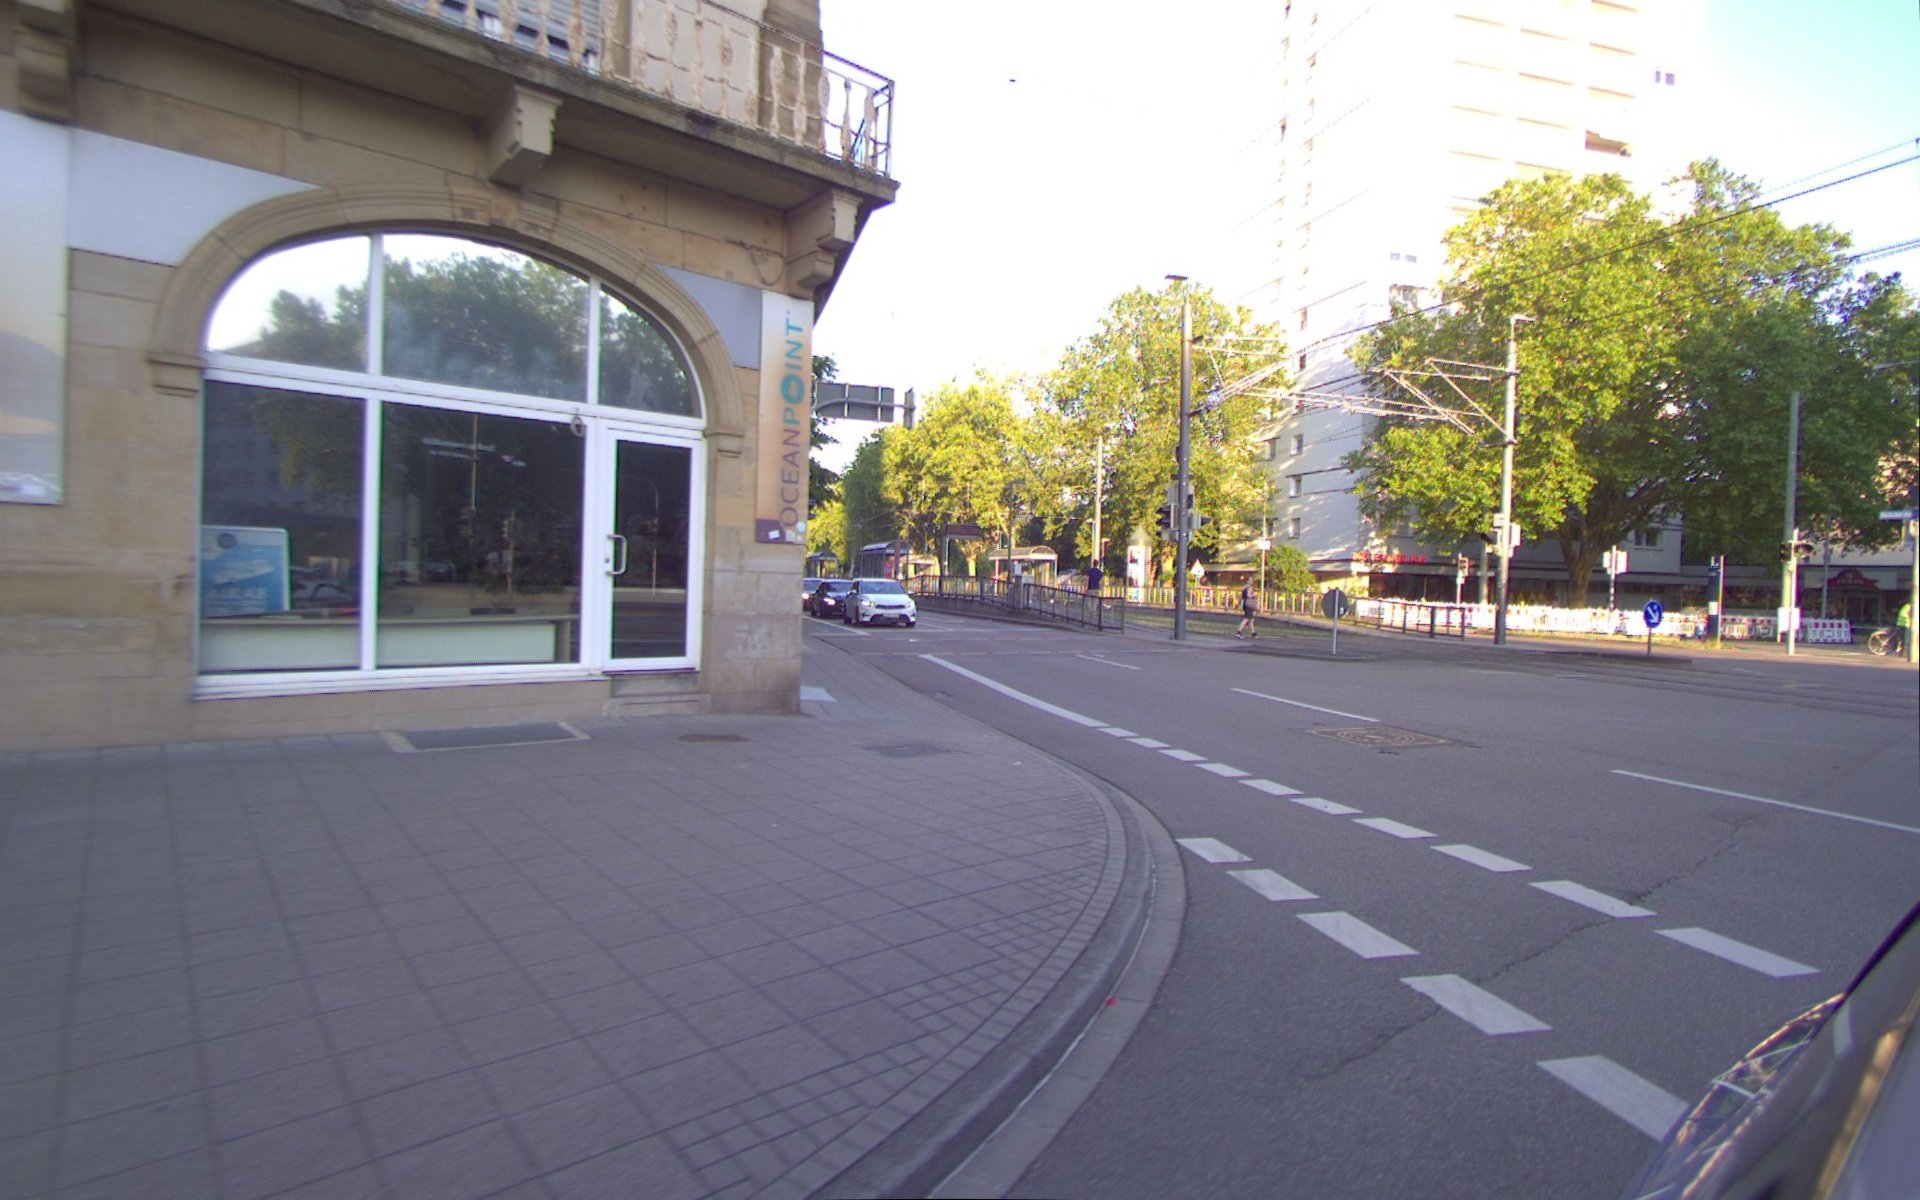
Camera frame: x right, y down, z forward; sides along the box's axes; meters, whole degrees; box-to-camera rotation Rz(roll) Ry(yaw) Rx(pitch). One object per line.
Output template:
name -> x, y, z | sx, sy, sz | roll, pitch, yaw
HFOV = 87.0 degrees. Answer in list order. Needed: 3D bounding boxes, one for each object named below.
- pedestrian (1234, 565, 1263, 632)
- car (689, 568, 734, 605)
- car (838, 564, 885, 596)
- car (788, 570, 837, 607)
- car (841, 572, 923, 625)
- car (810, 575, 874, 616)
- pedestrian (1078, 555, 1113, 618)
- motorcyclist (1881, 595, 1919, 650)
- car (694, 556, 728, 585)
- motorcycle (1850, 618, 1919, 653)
pedestrian -> 7.405, -0.034, 26.007 | 0.652, 1.677, 0.540 | 2, 1, 16
car -> -11.169, -0.632, 45.488 | 1.824, 1.566, 4.009 | 2, 1, -14
car -> -5.207, -1.052, 53.131 | 1.824, 1.566, 4.009 | 2, 1, -14
car -> -6.846, -0.565, 46.765 | 1.824, 1.566, 4.009 | 2, 1, -14
car -> -2.478, -0.103, 31.176 | 1.879, 1.482, 4.064 | 2, 1, -13
car -> -4.472, -0.217, 37.939 | 1.824, 1.389, 4.009 | 2, 1, -14
pedestrian -> 4.063, -0.411, 30.416 | 0.772, 1.839, 0.713 | 2, 1, -16
motorcyclist -> 27.238, 0.636, 29.173 | 0.821, 1.538, 0.617 | 2, 1, 25
car -> -14.566, -1.707, 59.096 | 1.824, 1.566, 4.009 | 2, 1, -14
motorcycle -> 27.244, 1.041, 29.176 | 2.262, 0.934, 0.617 | 2, 1, 26
